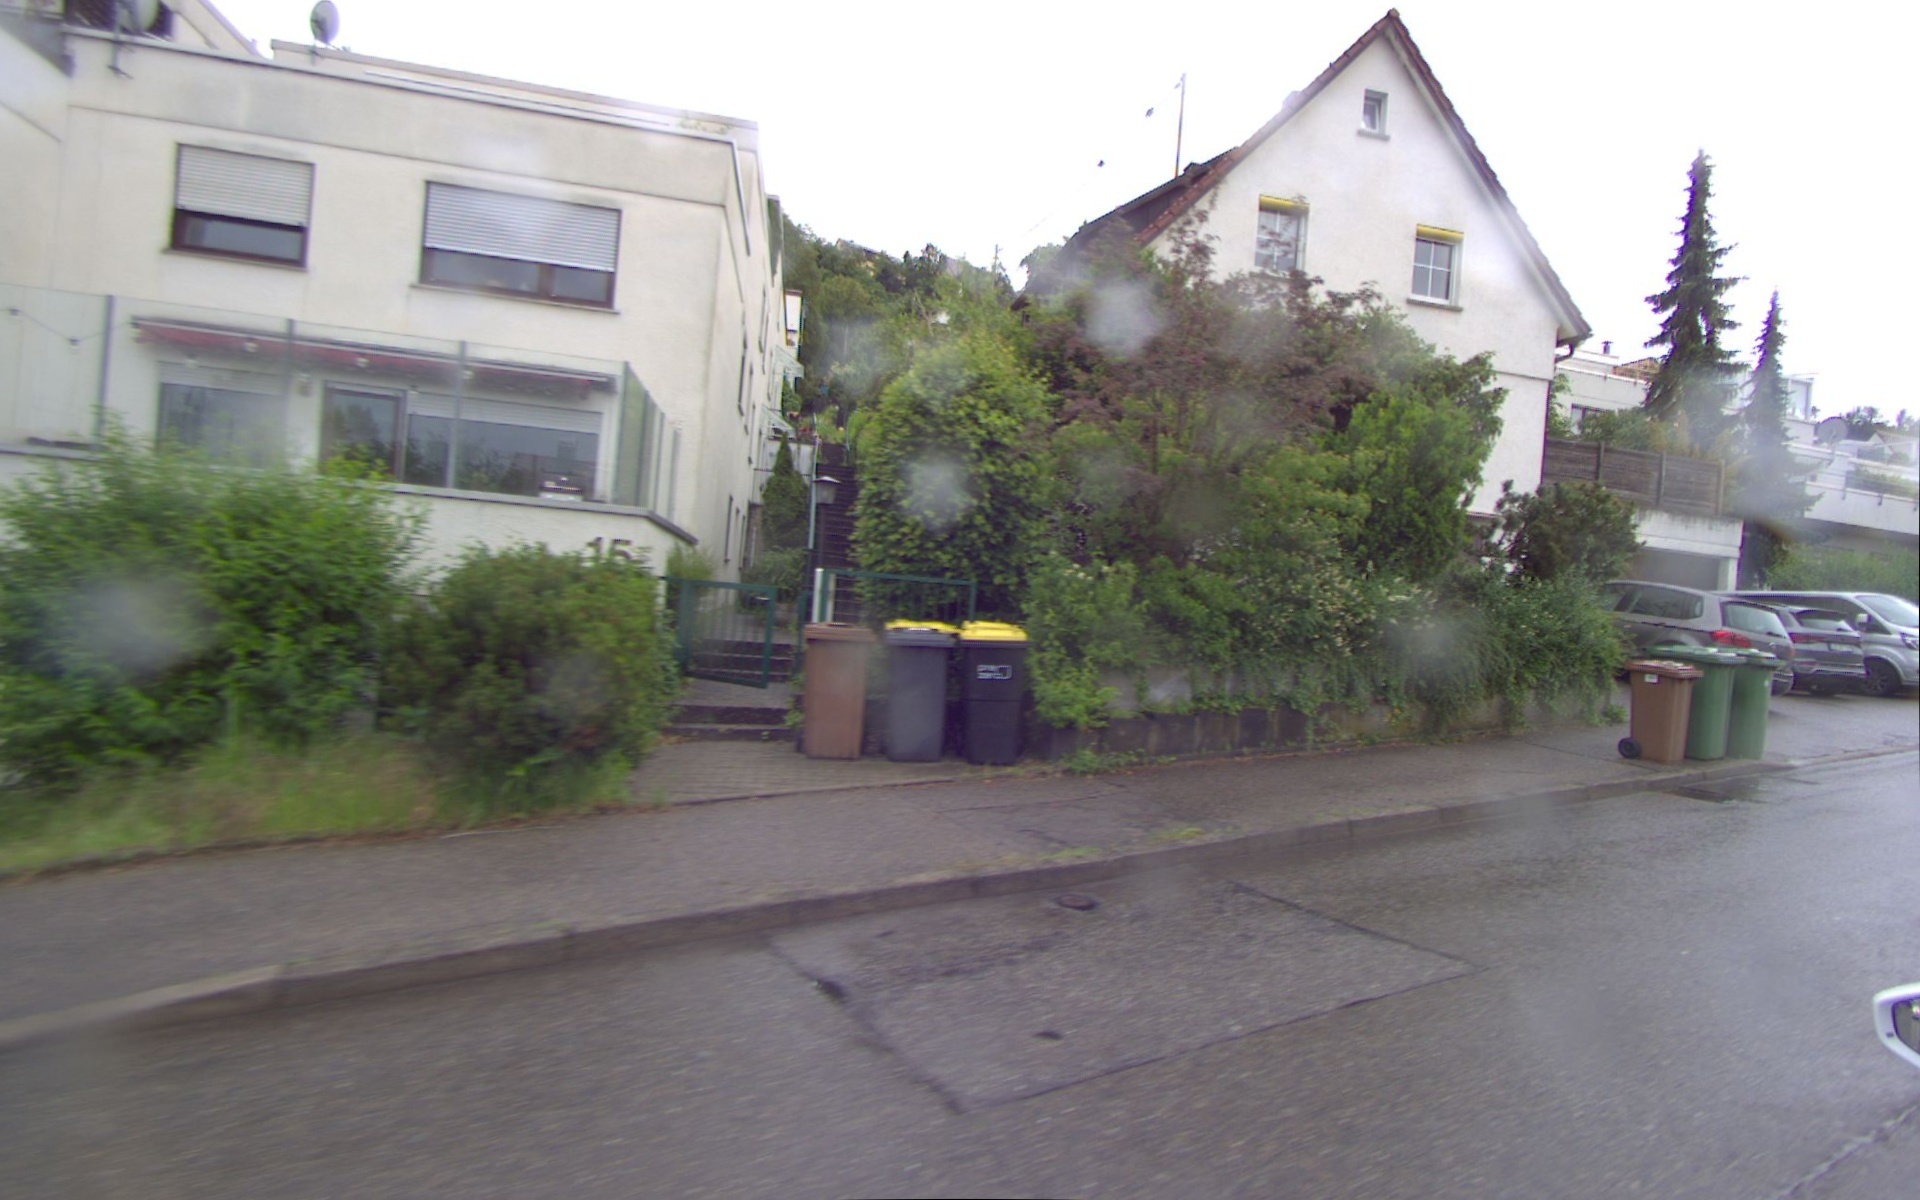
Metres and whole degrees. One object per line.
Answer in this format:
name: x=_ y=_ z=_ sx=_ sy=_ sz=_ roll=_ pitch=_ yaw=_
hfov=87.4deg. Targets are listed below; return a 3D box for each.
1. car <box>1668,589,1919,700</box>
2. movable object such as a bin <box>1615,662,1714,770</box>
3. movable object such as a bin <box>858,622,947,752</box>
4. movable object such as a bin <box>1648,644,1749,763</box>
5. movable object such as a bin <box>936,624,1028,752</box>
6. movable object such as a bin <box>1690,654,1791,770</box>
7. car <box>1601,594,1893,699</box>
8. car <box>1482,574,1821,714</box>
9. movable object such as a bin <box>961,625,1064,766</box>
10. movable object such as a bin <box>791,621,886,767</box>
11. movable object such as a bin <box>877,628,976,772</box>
car: x=17.532 y=0.830 z=20.344 sx=2.105 sy=1.970 sz=5.088 roll=1 pitch=-1 yaw=-14
movable object such as a bin: x=6.760 y=1.091 z=9.645 sx=0.558 sy=0.941 sz=0.598 roll=1 pitch=2 yaw=-34
movable object such as a bin: x=-0.528 y=0.759 z=8.981 sx=0.697 sy=1.097 sz=0.698 roll=1 pitch=0 yaw=-11
movable object such as a bin: x=7.308 y=1.003 z=9.944 sx=0.632 sy=1.078 sz=0.598 roll=1 pitch=2 yaw=-35
movable object such as a bin: x=0.189 y=0.777 z=9.127 sx=0.697 sy=1.097 sz=0.698 roll=1 pitch=0 yaw=-11
movable object such as a bin: x=7.972 y=1.119 z=10.260 sx=0.691 sy=1.078 sz=0.598 roll=1 pitch=2 yaw=-35
car: x=14.804 y=0.805 z=19.221 sx=1.862 sy=1.660 sz=4.056 roll=2 pitch=1 yaw=-14
car: x=10.651 y=0.585 z=15.886 sx=1.863 sy=1.715 sz=4.052 roll=2 pitch=3 yaw=-17
movable object such as a bin: x=0.423 y=0.769 z=8.330 sx=0.697 sy=1.097 sz=0.698 roll=1 pitch=0 yaw=-11
movable object such as a bin: x=-0.987 y=0.729 z=8.045 sx=0.697 sy=1.097 sz=0.698 roll=1 pitch=0 yaw=-11
movable object such as a bin: x=-0.290 y=0.788 z=8.193 sx=0.697 sy=1.097 sz=0.698 roll=1 pitch=0 yaw=-11
